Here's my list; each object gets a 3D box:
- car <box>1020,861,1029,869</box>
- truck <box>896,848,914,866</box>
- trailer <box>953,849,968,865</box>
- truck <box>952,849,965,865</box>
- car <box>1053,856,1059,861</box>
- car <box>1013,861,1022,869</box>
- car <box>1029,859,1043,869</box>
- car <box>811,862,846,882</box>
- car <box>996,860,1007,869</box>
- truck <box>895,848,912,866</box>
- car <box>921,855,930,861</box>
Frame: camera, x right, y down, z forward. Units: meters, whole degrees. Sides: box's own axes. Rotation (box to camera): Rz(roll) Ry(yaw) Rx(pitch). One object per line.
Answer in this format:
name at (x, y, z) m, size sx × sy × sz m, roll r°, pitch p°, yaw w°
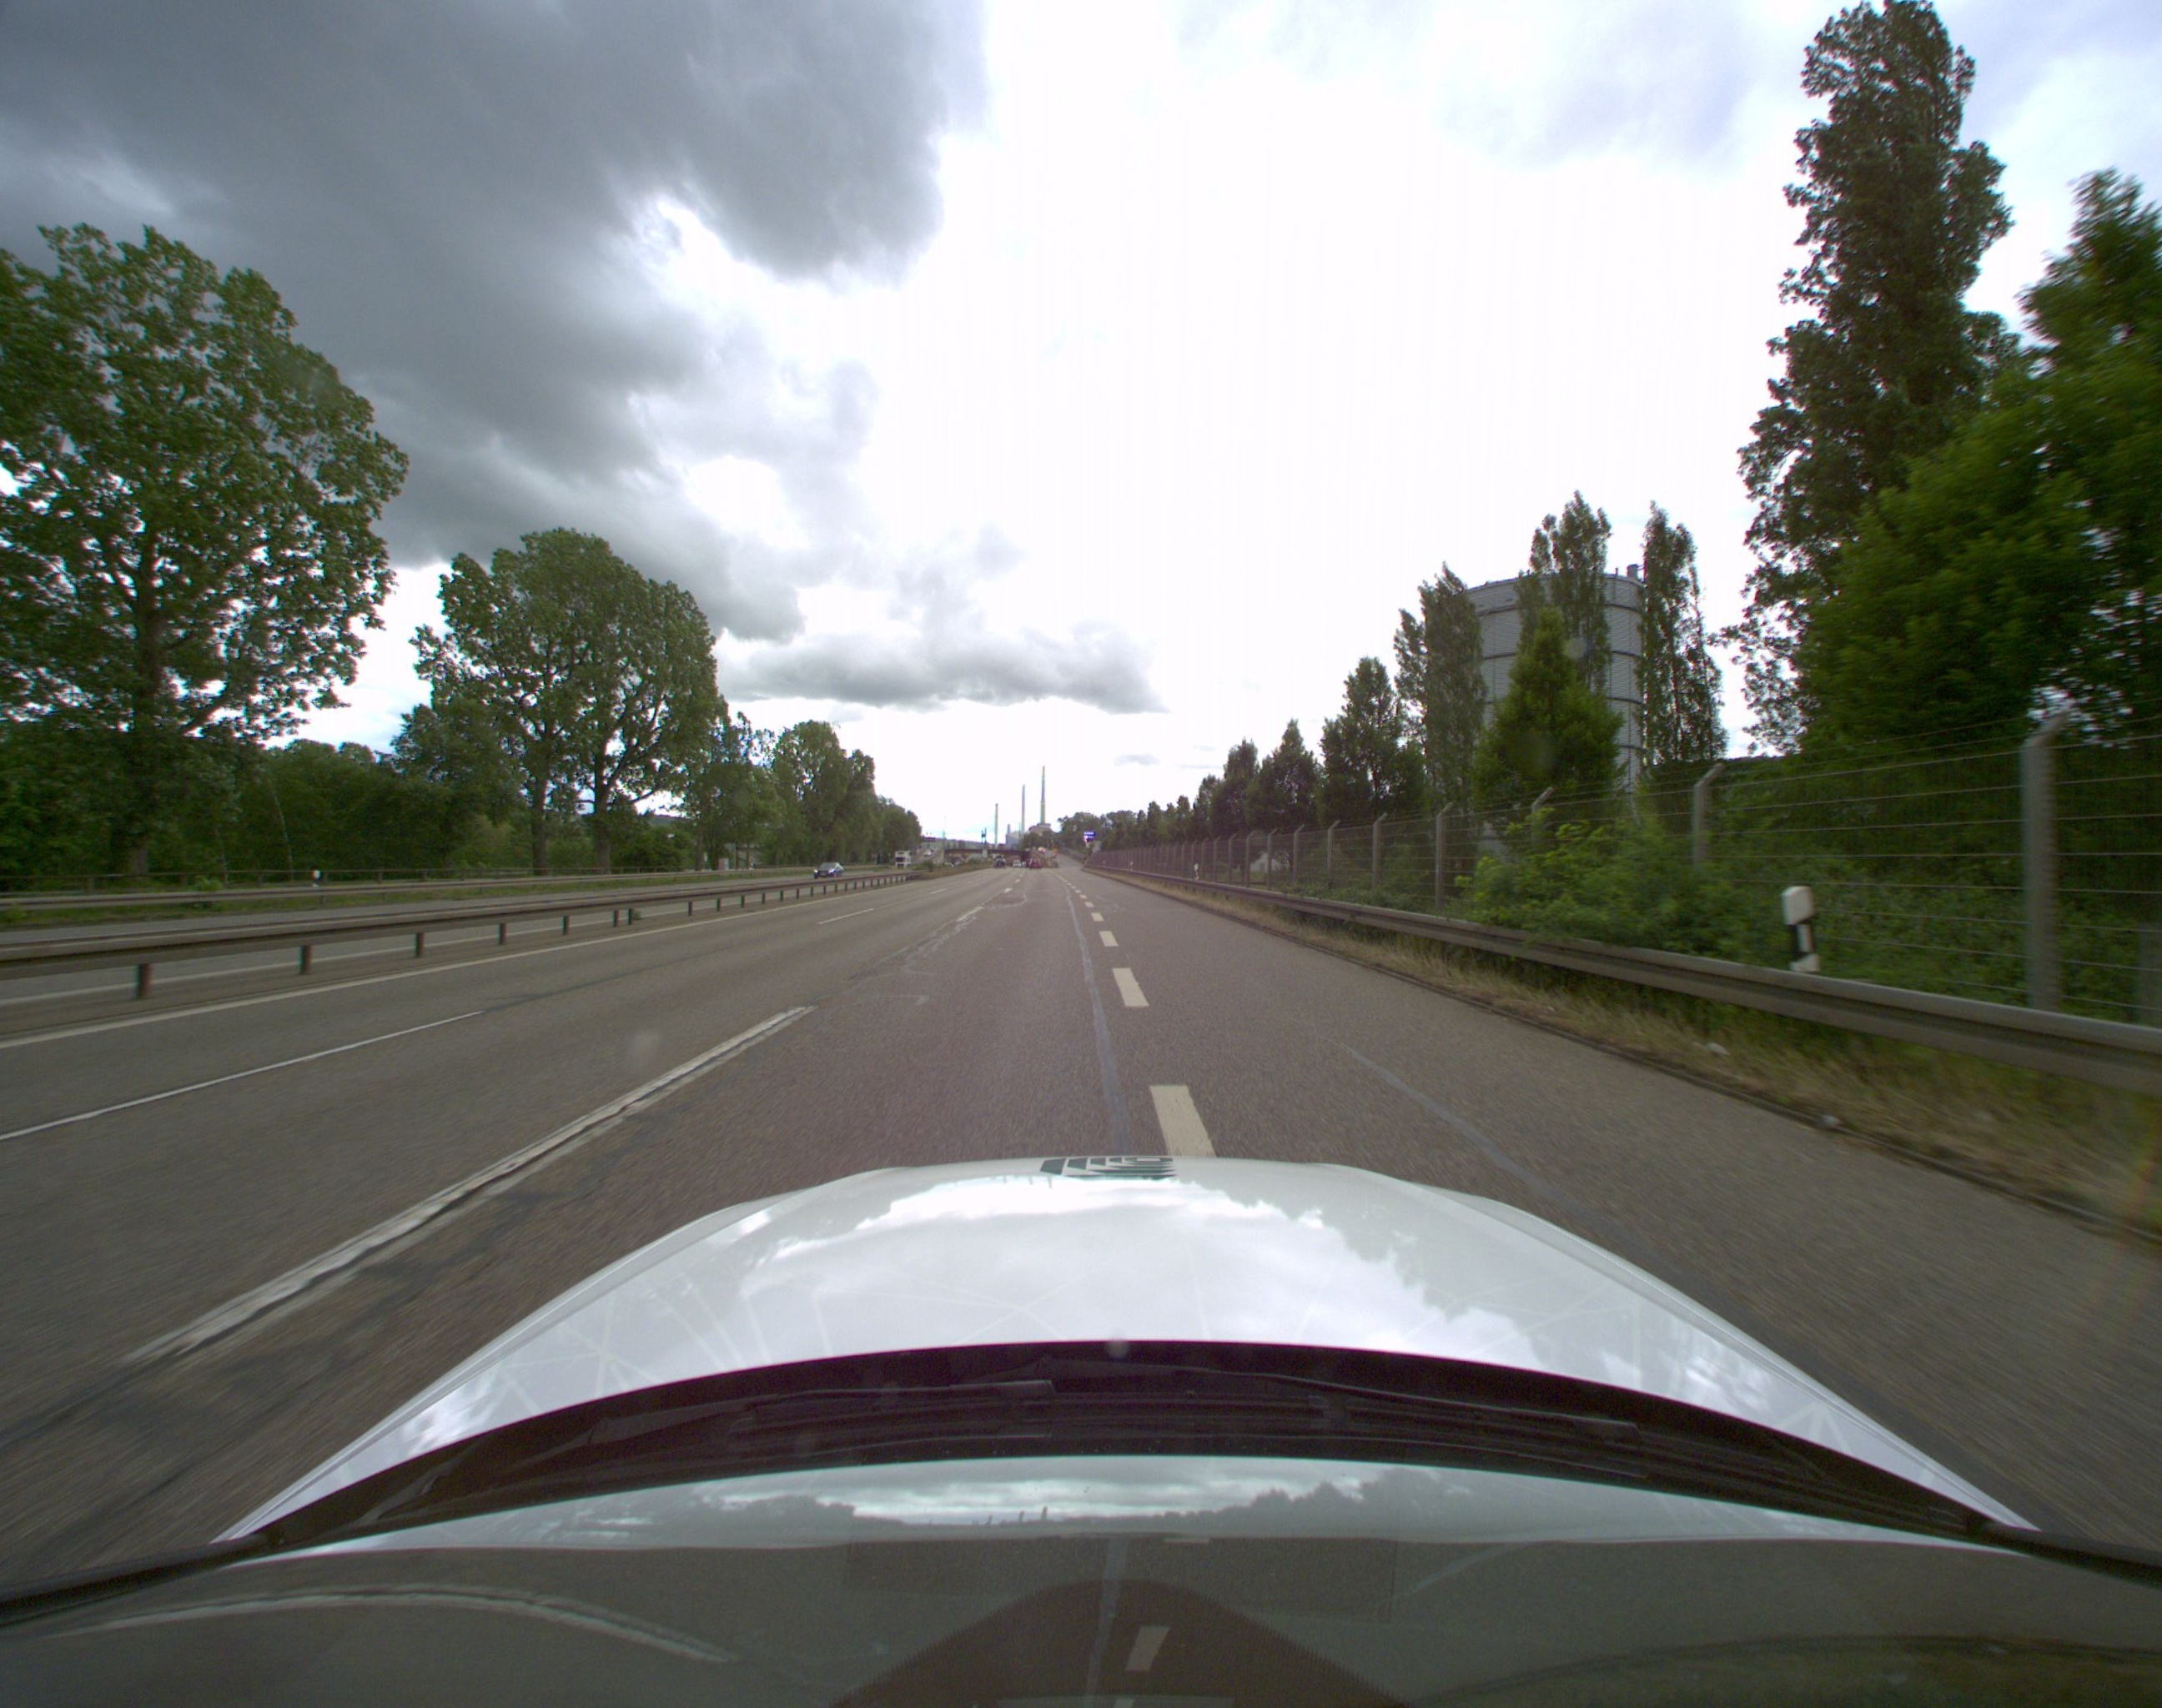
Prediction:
car at (-14.580, 2.828, 211.257) m, size 1.917 × 2.013 × 3.988 m, roll 1°, pitch 0°, yaw -8°
truck at (-37.398, 0.644, 173.310) m, size 2.980 × 3.644 × 6.321 m, roll 2°, pitch -1°, yaw -7°
trailer at (-37.973, 1.028, 256.935) m, size 3.457 × 4.673 × 14.756 m, roll 1°, pitch -1°, yaw -5°
truck at (-37.358, 0.908, 248.999) m, size 3.457 × 4.673 × 6.200 m, roll 1°, pitch -1°, yaw -5°
car at (-7.667, 1.463, 249.551) m, size 1.745 × 1.581 × 4.082 m, roll -1°, pitch -1°, yaw -1°
car at (-13.455, 2.357, 172.703) m, size 1.990 × 1.684 × 3.994 m, roll 1°, pitch 0°, yaw -4°
car at (-6.749, 1.466, 121.355) m, size 1.989 × 1.420 × 3.996 m, roll 1°, pitch 0°, yaw -3°
car at (-22.679, 1.587, 73.326) m, size 1.990 × 1.609 × 4.642 m, roll -1°, pitch 0°, yaw -5°
car at (-14.901, 1.937, 152.753) m, size 1.990 × 1.684 × 3.994 m, roll 1°, pitch 0°, yaw -4°
truck at (-36.933, 0.587, 169.360) m, size 2.982 × 3.643 × 3.990 m, roll 2°, pitch -1°, yaw -7°
car at (-45.650, 1.303, 239.154) m, size 1.991 × 1.644 × 4.593 m, roll 2°, pitch -1°, yaw -7°
